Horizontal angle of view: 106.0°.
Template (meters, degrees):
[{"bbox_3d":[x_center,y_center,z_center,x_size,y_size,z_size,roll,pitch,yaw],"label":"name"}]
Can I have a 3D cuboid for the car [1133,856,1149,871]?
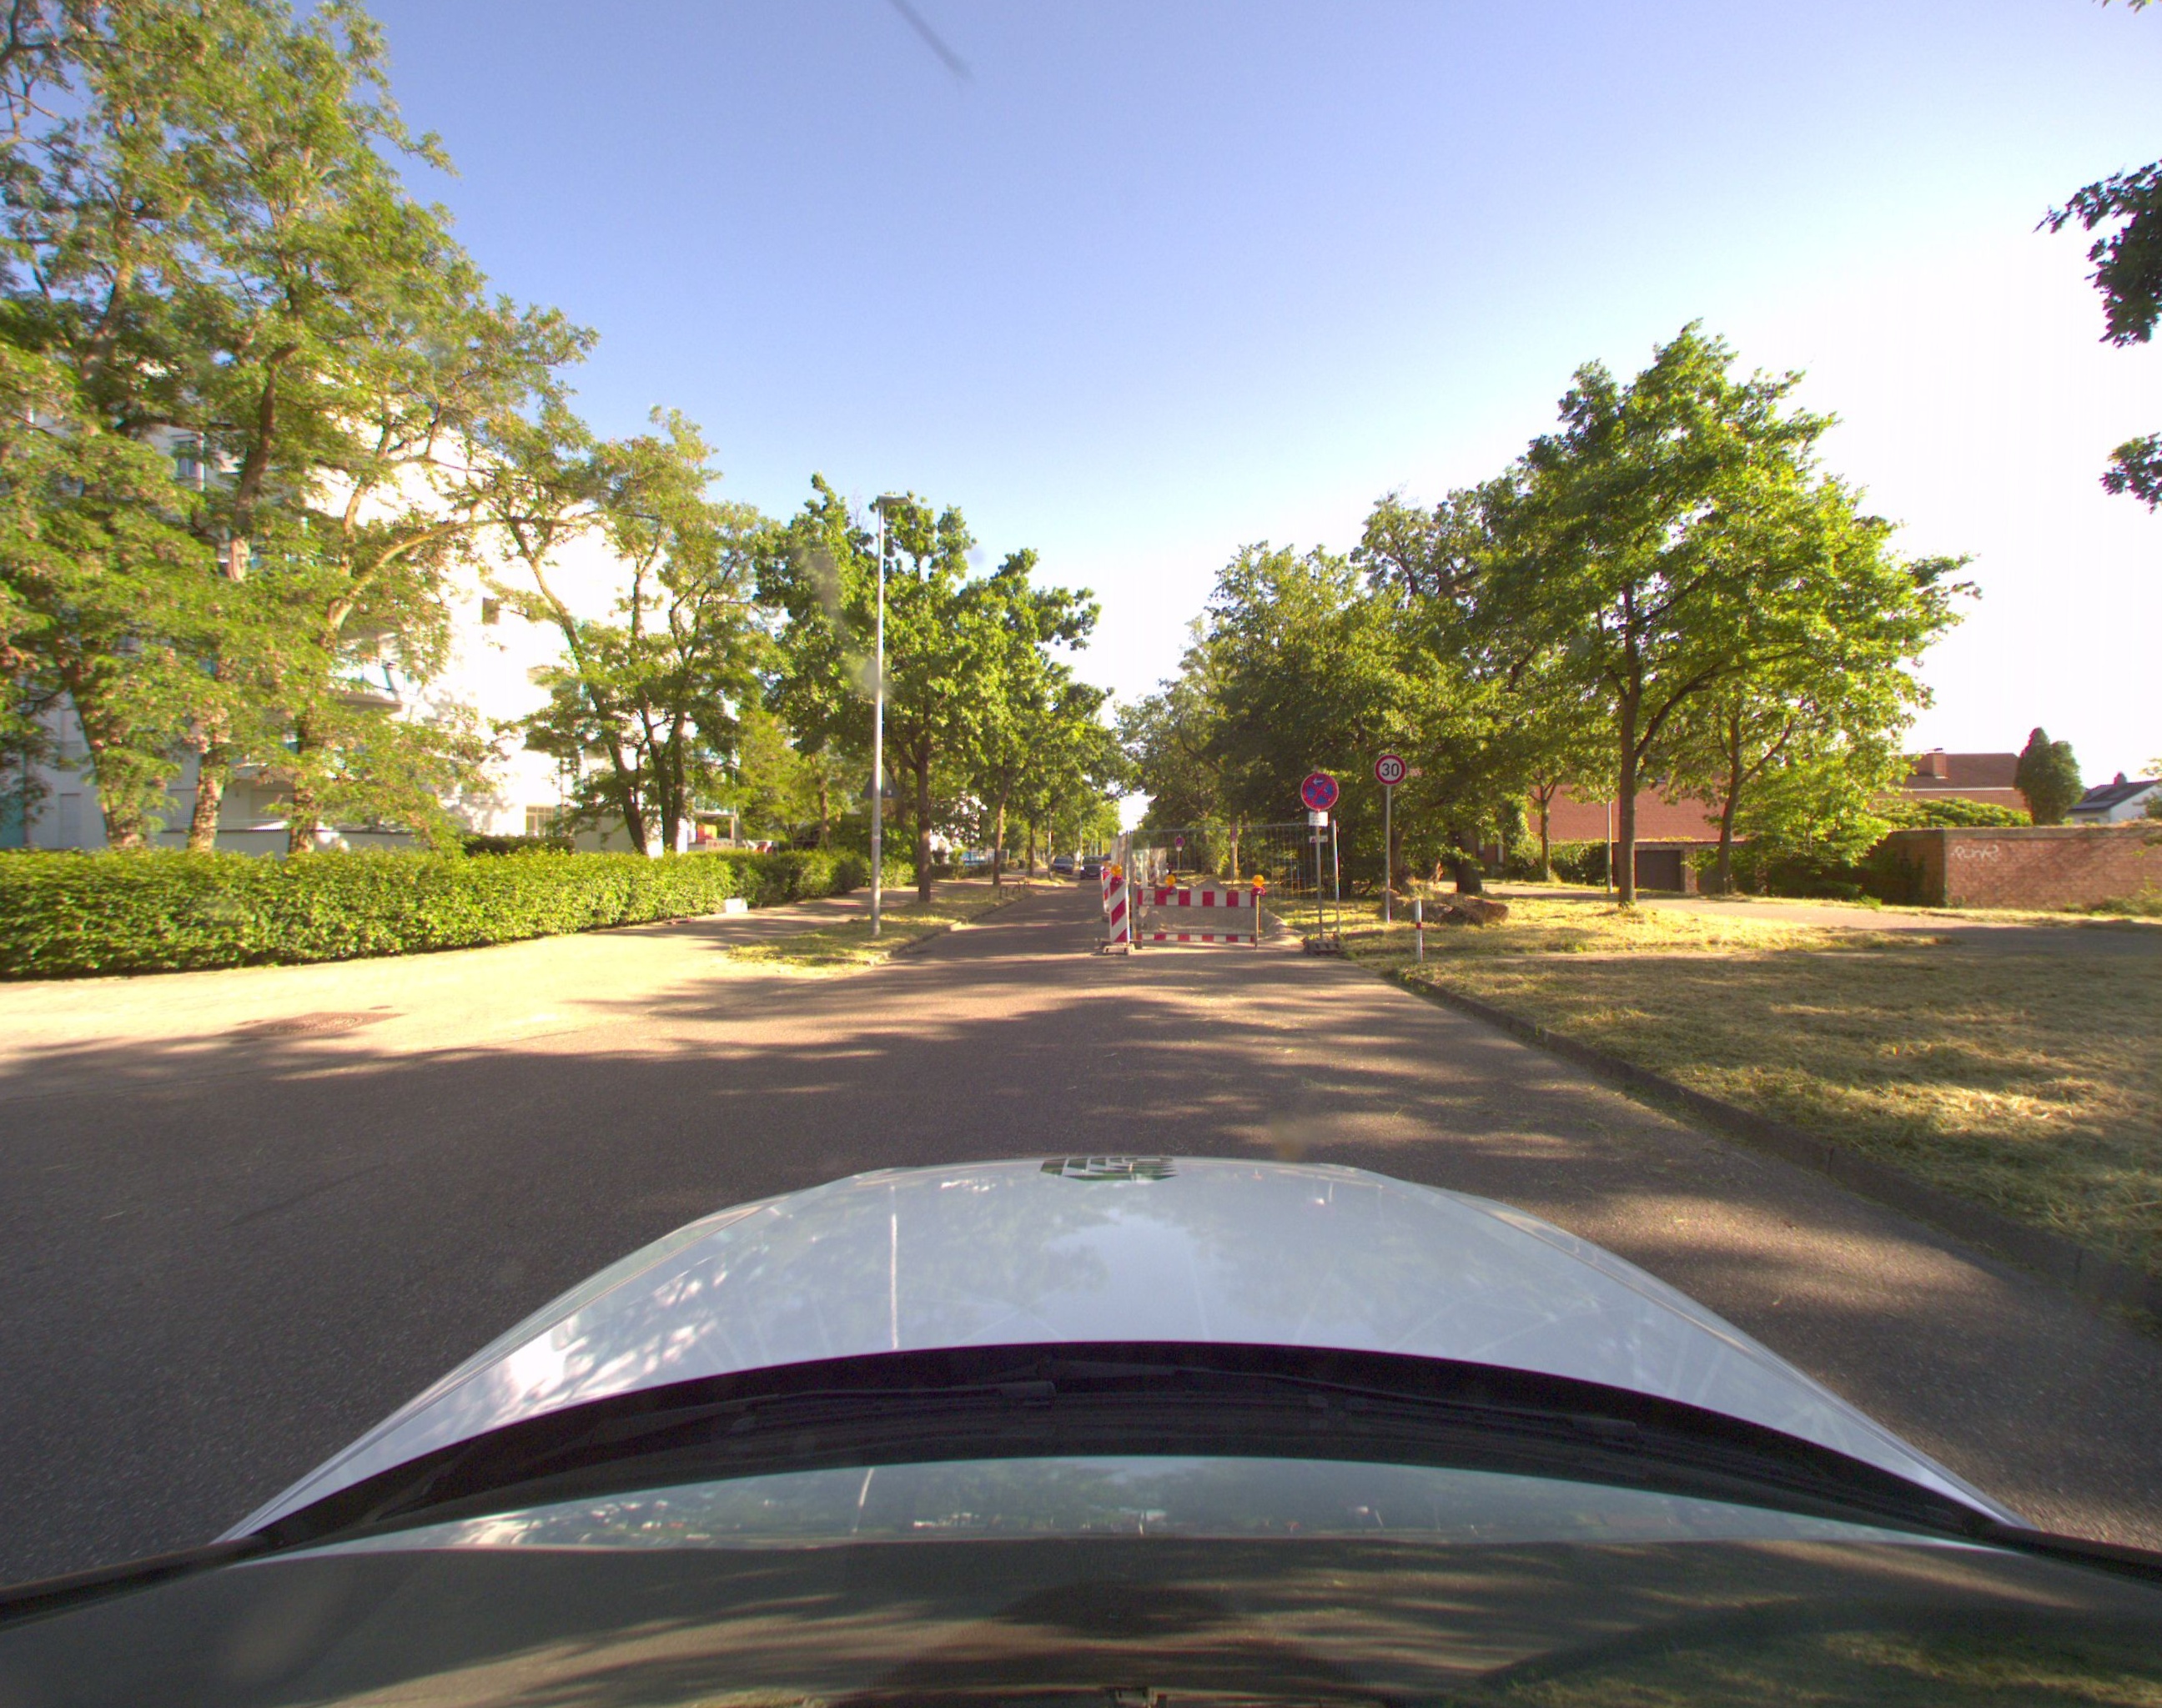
[{"bbox_3d":[5.710,0.914,77.645,1.356,1.302,3.481,1,-1,1],"label":"car"}]

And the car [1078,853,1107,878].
[{"bbox_3d":[0.840,0.813,58.072,1.814,1.625,4.496,-2,0,3],"label":"car"}]

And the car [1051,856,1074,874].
[{"bbox_3d":[-1.523,0.912,68.125,1.744,1.478,3.838,0,0,2],"label":"car"}]

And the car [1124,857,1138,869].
[{"bbox_3d":[5.542,0.973,90.639,1.356,1.302,3.481,1,-1,1],"label":"car"}]

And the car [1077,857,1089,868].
[{"bbox_3d":[0.258,1.095,103.425,1.356,1.302,3.481,1,-1,1],"label":"car"}]

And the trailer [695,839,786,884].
[{"bbox_3d":[-16.369,0.343,39.424,1.964,2.042,4.442,0,0,10],"label":"trailer"}]
